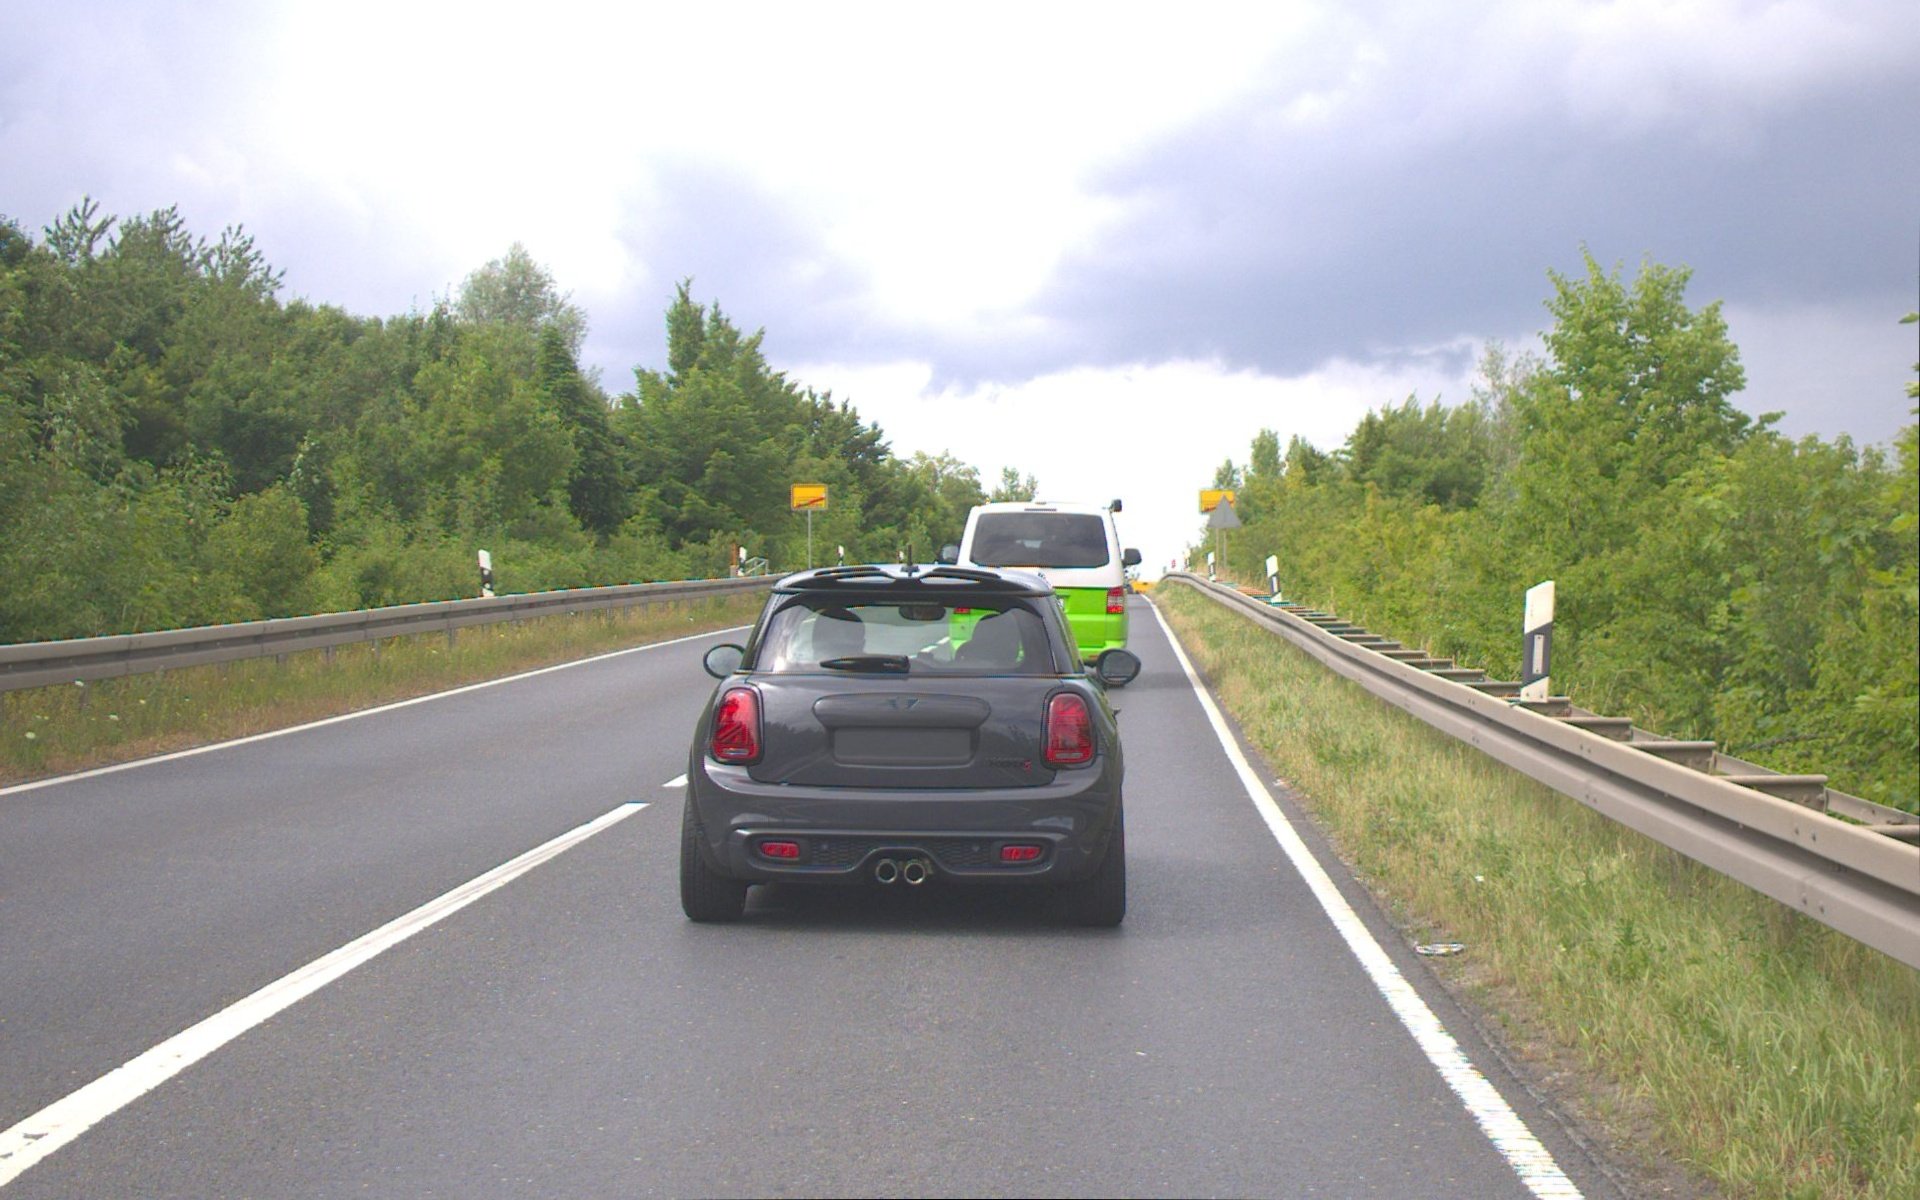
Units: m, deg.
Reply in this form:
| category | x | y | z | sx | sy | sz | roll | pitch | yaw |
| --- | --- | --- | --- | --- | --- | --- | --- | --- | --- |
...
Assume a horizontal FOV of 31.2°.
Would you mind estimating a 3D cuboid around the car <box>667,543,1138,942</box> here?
| category | x | y | z | sx | sy | sz | roll | pitch | yaw |
| --- | --- | --- | --- | --- | --- | --- | --- | --- | --- |
| car | -0.272 | 0.501 | 14.862 | 1.732 | 1.451 | 4.000 | 1 | 1 | -2 |

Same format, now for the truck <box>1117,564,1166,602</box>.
| category | x | y | z | sx | sy | sz | roll | pitch | yaw |
| --- | --- | --- | --- | --- | --- | --- | --- | --- | --- |
| truck | 12.476 | -1.181 | 235.962 | 2.910 | 2.364 | 10.450 | -2 | 1 | 5 |

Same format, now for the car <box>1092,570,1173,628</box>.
| category | x | y | z | sx | sy | sz | roll | pitch | yaw |
| --- | --- | --- | --- | --- | --- | --- | --- | --- | --- |
| car | 4.035 | -0.001 | 80.000 | 1.695 | 1.218 | 3.999 | -1 | -2 | 5 |

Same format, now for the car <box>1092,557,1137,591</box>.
| category | x | y | z | sx | sy | sz | roll | pitch | yaw |
| --- | --- | --- | --- | --- | --- | --- | --- | --- | --- |
| car | 6.318 | -1.082 | 140.175 | 1.694 | 1.315 | 4.000 | -1 | 1 | 5 |

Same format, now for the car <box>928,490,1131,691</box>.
| category | x | y | z | sx | sy | sz | roll | pitch | yaw |
| --- | --- | --- | --- | --- | --- | --- | --- | --- | --- |
| car | 0.804 | -0.142 | 37.381 | 2.022 | 2.006 | 4.000 | 2 | 1 | 3 |
